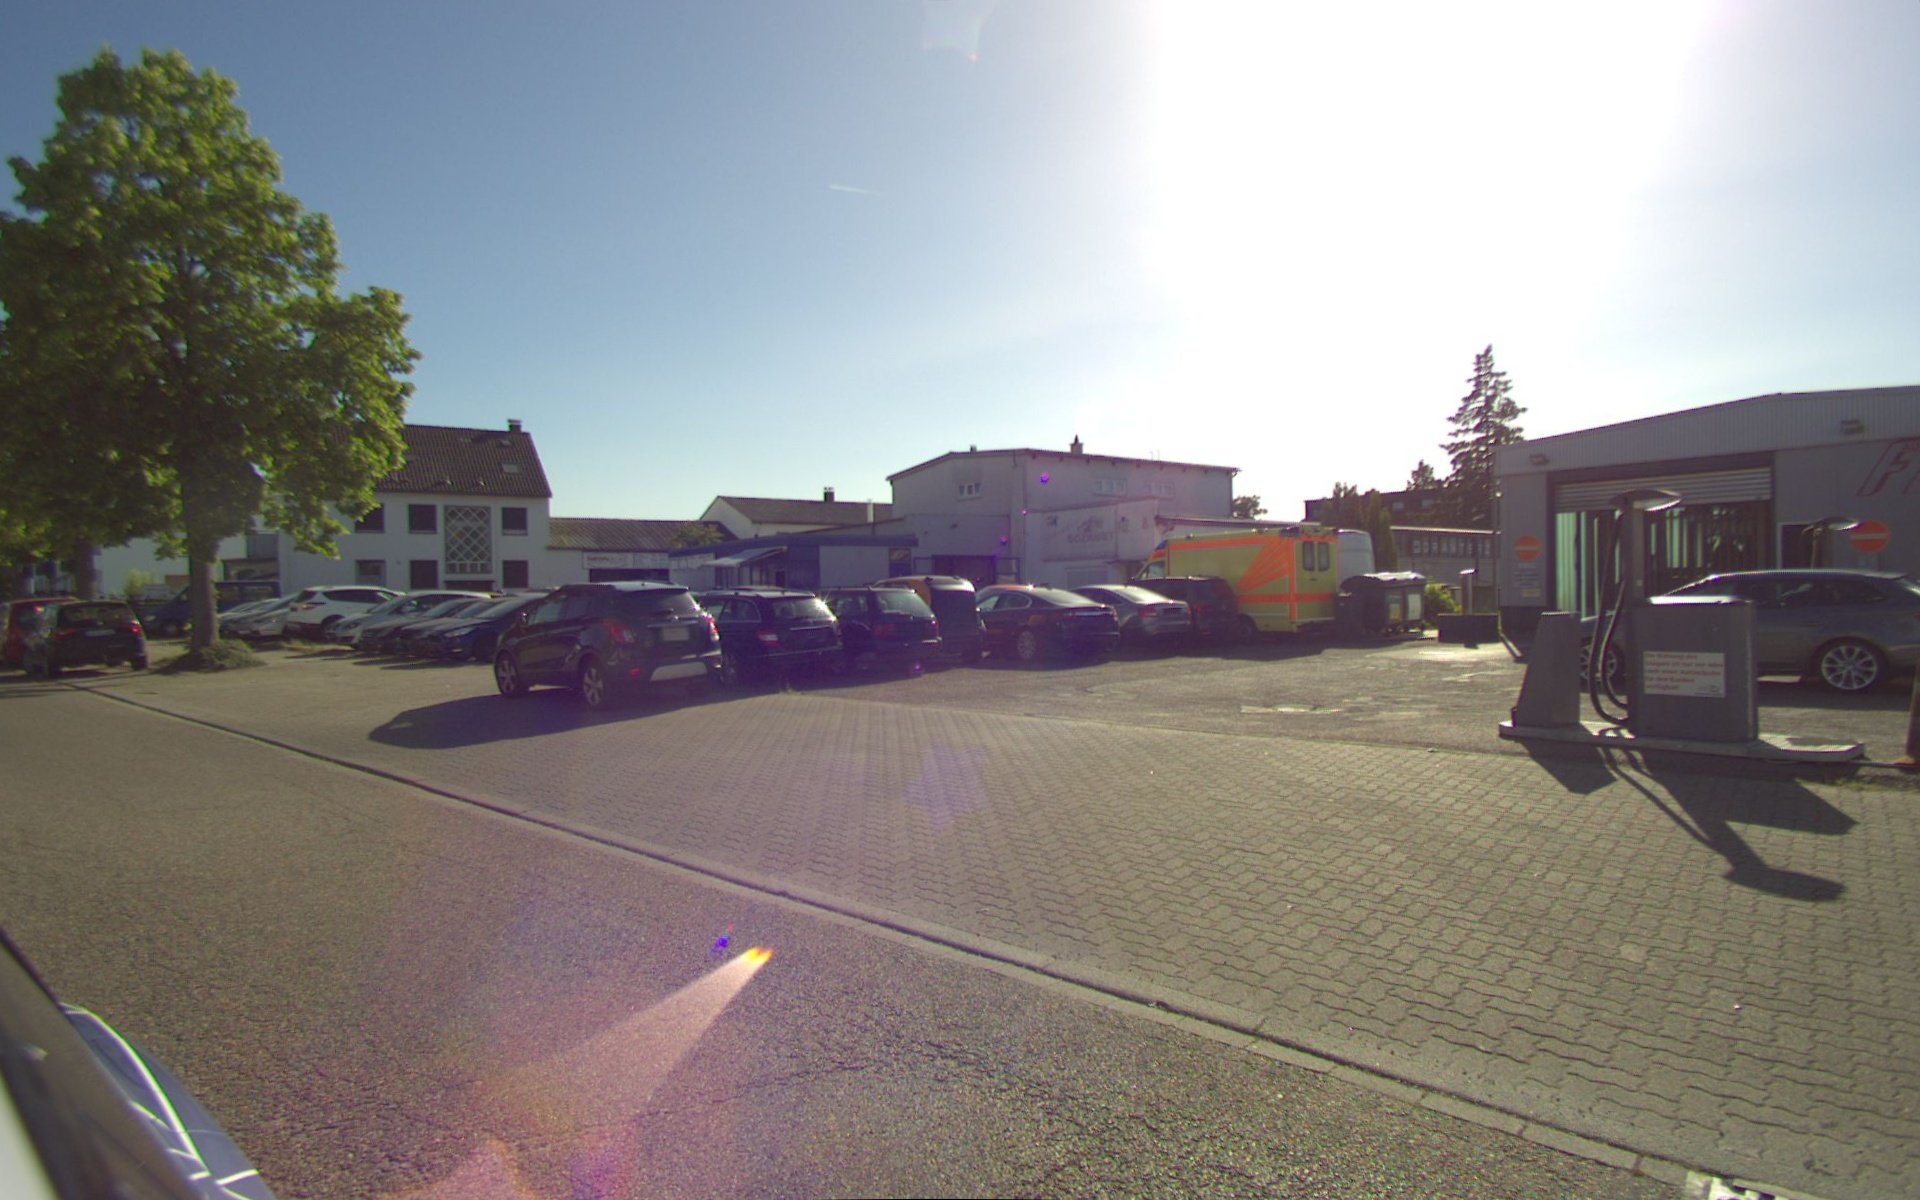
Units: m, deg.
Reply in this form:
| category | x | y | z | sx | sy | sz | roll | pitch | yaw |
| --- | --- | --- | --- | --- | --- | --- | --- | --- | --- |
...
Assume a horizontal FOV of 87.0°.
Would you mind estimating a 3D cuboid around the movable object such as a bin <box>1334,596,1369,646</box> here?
| category | x | y | z | sx | sy | sz | roll | pitch | yaw |
| --- | --- | --- | --- | --- | --- | --- | --- | --- | --- |
| movable object such as a bin | 8.734 | 0.460 | 22.561 | 0.419 | 1.083 | 0.585 | -1 | 0 | -42 |

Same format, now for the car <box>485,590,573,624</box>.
| category | x | y | z | sx | sy | sz | roll | pitch | yaw |
| --- | --- | --- | --- | --- | --- | --- | --- | --- | --- |
| car | -21.567 | 0.334 | 50.649 | 3.756 | 1.553 | 1.551 | -2 | 1 | -37 |

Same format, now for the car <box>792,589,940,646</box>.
| category | x | y | z | sx | sy | sz | roll | pitch | yaw |
| --- | --- | --- | --- | --- | --- | --- | --- | --- | --- |
| car | -2.674 | 0.461 | 29.064 | 3.935 | 1.461 | 1.673 | -1 | 2 | -36 |

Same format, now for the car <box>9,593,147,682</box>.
| category | x | y | z | sx | sy | sz | roll | pitch | yaw |
| --- | --- | --- | --- | --- | --- | --- | --- | --- | --- |
| car | -20.453 | 0.816 | 23.399 | 4.552 | 1.784 | 1.657 | -1 | 2 | 40 |

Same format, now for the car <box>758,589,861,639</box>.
| category | x | y | z | sx | sy | sz | roll | pitch | yaw |
| --- | --- | --- | --- | --- | --- | --- | --- | --- | --- |
| car | -4.976 | 0.432 | 33.077 | 1.642 | 1.528 | 4.010 | -1 | 0 | -36 |

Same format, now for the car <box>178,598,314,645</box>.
| category | x | y | z | sx | sy | sz | roll | pitch | yaw |
| --- | --- | --- | --- | --- | --- | --- | --- | --- | --- |
| car | -26.081 | 0.749 | 37.055 | 1.547 | 1.553 | 3.766 | -1 | 1 | 41 |

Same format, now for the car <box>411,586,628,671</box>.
| category | x | y | z | sx | sy | sz | roll | pitch | yaw |
| --- | --- | --- | --- | --- | --- | --- | --- | --- | --- |
| car | -9.951 | 0.575 | 23.057 | 4.199 | 1.741 | 1.767 | -1 | 0 | -44 |

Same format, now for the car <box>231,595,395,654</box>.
| category | x | y | z | sx | sy | sz | roll | pitch | yaw |
| --- | --- | --- | --- | --- | --- | --- | --- | --- | --- |
| car | -20.766 | 0.748 | 32.583 | 4.199 | 1.741 | 1.767 | -1 | 0 | -44 |

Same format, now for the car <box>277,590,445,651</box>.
| category | x | y | z | sx | sy | sz | roll | pitch | yaw |
| --- | --- | --- | --- | --- | --- | --- | --- | --- | --- |
| car | -18.646 | 0.593 | 31.642 | 1.765 | 1.741 | 4.205 | -1 | 0 | 41 |

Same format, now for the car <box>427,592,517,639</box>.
| category | x | y | z | sx | sy | sz | roll | pitch | yaw |
| --- | --- | --- | --- | --- | --- | --- | --- | --- | --- |
| car | -16.902 | 0.517 | 34.975 | 1.644 | 1.528 | 4.004 | -1 | 0 | -43 |

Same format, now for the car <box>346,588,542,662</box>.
| category | x | y | z | sx | sy | sz | roll | pitch | yaw |
| --- | --- | --- | --- | --- | --- | --- | --- | --- | --- |
| car | -13.304 | 0.579 | 26.265 | 4.199 | 1.741 | 1.767 | -1 | 0 | -44 |

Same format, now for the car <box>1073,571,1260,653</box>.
| category | x | y | z | sx | sy | sz | roll | pitch | yaw |
| --- | --- | --- | --- | --- | --- | --- | --- | --- | --- |
| car | 4.804 | 0.301 | 24.022 | 1.754 | 1.761 | 4.172 | -1 | -1 | -38 |

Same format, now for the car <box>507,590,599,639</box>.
| category | x | y | z | sx | sy | sz | roll | pitch | yaw |
| --- | --- | --- | --- | --- | --- | --- | --- | --- | --- |
| car | -14.474 | 0.487 | 35.895 | 1.644 | 1.631 | 4.004 | -1 | 0 | -43 |

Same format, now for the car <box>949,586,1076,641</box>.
| category | x | y | z | sx | sy | sz | roll | pitch | yaw |
| --- | --- | --- | --- | --- | --- | --- | --- | --- | --- |
| car | 1.698 | 0.388 | 31.799 | 3.938 | 1.563 | 1.672 | -2 | 1 | -41 |

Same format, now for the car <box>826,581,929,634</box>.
| category | x | y | z | sx | sy | sz | roll | pitch | yaw |
| --- | --- | --- | --- | --- | --- | --- | --- | --- | --- |
| car | -2.862 | 0.240 | 34.329 | 1.642 | 1.666 | 4.010 | -1 | 0 | -36 |

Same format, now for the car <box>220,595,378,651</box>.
| category | x | y | z | sx | sy | sz | roll | pitch | yaw |
| --- | --- | --- | --- | --- | --- | --- | --- | --- | --- |
| car | -22.382 | 0.731 | 34.379 | 1.766 | 1.766 | 4.201 | -1 | 0 | 44 |

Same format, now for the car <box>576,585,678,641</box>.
| category | x | y | z | sx | sy | sz | roll | pitch | yaw |
| --- | --- | --- | --- | --- | --- | --- | --- | --- | --- |
| car | -11.009 | 0.415 | 33.343 | 1.644 | 1.706 | 4.004 | -1 | 0 | -43 |

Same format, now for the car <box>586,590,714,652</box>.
| category | x | y | z | sx | sy | sz | roll | pitch | yaw |
| --- | --- | --- | --- | --- | --- | --- | --- | --- | --- |
| car | -8.344 | 0.527 | 27.044 | 1.644 | 1.528 | 4.004 | -1 | 0 | -43 |

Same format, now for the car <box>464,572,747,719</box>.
| category | x | y | z | sx | sy | sz | roll | pitch | yaw |
| --- | --- | --- | --- | --- | --- | --- | --- | --- | --- |
| car | -5.166 | 0.557 | 14.503 | 4.273 | 1.727 | 1.843 | -1 | 3 | 40 |

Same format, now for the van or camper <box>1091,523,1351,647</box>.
| category | x | y | z | sx | sy | sz | roll | pitch | yaw |
| --- | --- | --- | --- | --- | --- | --- | --- | --- | --- |
| van or camper | 6.331 | -0.326 | 25.454 | 2.137 | 2.735 | 6.281 | -1 | 0 | -39 |

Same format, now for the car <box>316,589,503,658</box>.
| category | x | y | z | sx | sy | sz | roll | pitch | yaw |
| --- | --- | --- | --- | --- | --- | --- | --- | --- | --- |
| car | -15.189 | 0.591 | 28.080 | 1.765 | 1.741 | 4.203 | -1 | 0 | 42 |

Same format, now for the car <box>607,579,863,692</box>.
| category | x | y | z | sx | sy | sz | roll | pitch | yaw |
| --- | --- | --- | --- | --- | --- | --- | --- | --- | --- |
| car | -3.746 | 0.505 | 16.469 | 4.273 | 1.602 | 1.843 | -1 | 0 | 40 |

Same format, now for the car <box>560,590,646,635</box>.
| category | x | y | z | sx | sy | sz | roll | pitch | yaw |
| --- | --- | --- | --- | --- | --- | --- | --- | --- | --- |
| car | -13.264 | 0.450 | 37.512 | 1.644 | 1.576 | 3.719 | -1 | 0 | -43 |

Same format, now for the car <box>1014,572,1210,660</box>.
| category | x | y | z | sx | sy | sz | roll | pitch | yaw |
| --- | --- | --- | --- | --- | --- | --- | --- | --- | --- |
| car | 3.251 | 0.363 | 22.390 | 1.754 | 1.761 | 4.172 | -1 | -1 | -38 |

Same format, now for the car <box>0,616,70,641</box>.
| category | x | y | z | sx | sy | sz | roll | pitch | yaw |
| --- | --- | --- | --- | --- | --- | --- | --- | --- | --- |
| car | -61.204 | 1.858 | 66.800 | 1.588 | 1.525 | 4.397 | -2 | 1 | -9 |

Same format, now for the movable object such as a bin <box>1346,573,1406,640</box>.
| category | x | y | z | sx | sy | sz | roll | pitch | yaw |
| --- | --- | --- | --- | --- | --- | --- | --- | --- | --- |
| movable object such as a bin | 9.471 | 0.144 | 23.063 | 0.721 | 1.500 | 1.049 | -1 | 0 | -42 |

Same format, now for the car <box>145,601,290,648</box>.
| category | x | y | z | sx | sy | sz | roll | pitch | yaw |
| --- | --- | --- | --- | --- | --- | --- | --- | --- | --- |
| car | -28.025 | 0.886 | 38.262 | 4.199 | 1.553 | 1.767 | -2 | 1 | -44 |

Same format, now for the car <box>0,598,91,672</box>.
| category | x | y | z | sx | sy | sz | roll | pitch | yaw |
| --- | --- | --- | --- | --- | --- | --- | --- | --- | --- |
| car | -25.181 | 0.897 | 27.444 | 4.339 | 1.765 | 1.785 | -1 | 2 | 41 |

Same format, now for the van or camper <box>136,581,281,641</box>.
| category | x | y | z | sx | sy | sz | roll | pitch | yaw |
| --- | --- | --- | --- | --- | --- | --- | --- | --- | --- |
| van or camper | -31.921 | 0.430 | 43.125 | 4.829 | 2.337 | 2.249 | -2 | 1 | -37 |

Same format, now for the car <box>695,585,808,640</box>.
| category | x | y | z | sx | sy | sz | roll | pitch | yaw |
| --- | --- | --- | --- | --- | --- | --- | --- | --- | --- |
| car | -6.536 | 0.370 | 31.530 | 1.644 | 1.576 | 3.852 | -1 | 0 | -43 |

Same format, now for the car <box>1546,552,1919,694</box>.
| category | x | y | z | sx | sy | sz | roll | pitch | yaw |
| --- | --- | --- | --- | --- | --- | --- | --- | --- | --- |
| car | 10.153 | 0.284 | 12.866 | 1.755 | 1.557 | 4.302 | -1 | -1 | -41 |

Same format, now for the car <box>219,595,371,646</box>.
| category | x | y | z | sx | sy | sz | roll | pitch | yaw |
| --- | --- | --- | --- | --- | --- | --- | --- | --- | --- |
| car | -23.776 | 0.699 | 36.300 | 1.764 | 1.597 | 4.207 | -1 | 1 | 39 |

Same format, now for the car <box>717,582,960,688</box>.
| category | x | y | z | sx | sy | sz | roll | pitch | yaw |
| --- | --- | --- | --- | --- | --- | --- | --- | --- | --- |
| car | -2.227 | 0.516 | 17.841 | 4.273 | 1.601 | 1.843 | 2 | 2 | 40 |

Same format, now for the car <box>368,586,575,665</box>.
| category | x | y | z | sx | sy | sz | roll | pitch | yaw |
| --- | --- | --- | --- | --- | --- | --- | --- | --- | --- |
| car | -11.770 | 0.548 | 24.563 | 4.199 | 1.741 | 1.767 | -1 | 0 | -44 |

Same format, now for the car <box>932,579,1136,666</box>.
| category | x | y | z | sx | sy | sz | roll | pitch | yaw |
| --- | --- | --- | --- | --- | --- | --- | --- | --- | --- |
| car | 1.394 | 0.463 | 20.553 | 1.754 | 1.557 | 4.172 | -1 | -1 | -38 |

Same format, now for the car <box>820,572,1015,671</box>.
| category | x | y | z | sx | sy | sz | roll | pitch | yaw |
| --- | --- | --- | --- | --- | --- | --- | --- | --- | --- |
| car | -0.962 | 0.429 | 20.235 | 1.754 | 1.761 | 4.172 | -1 | -1 | -38 |
